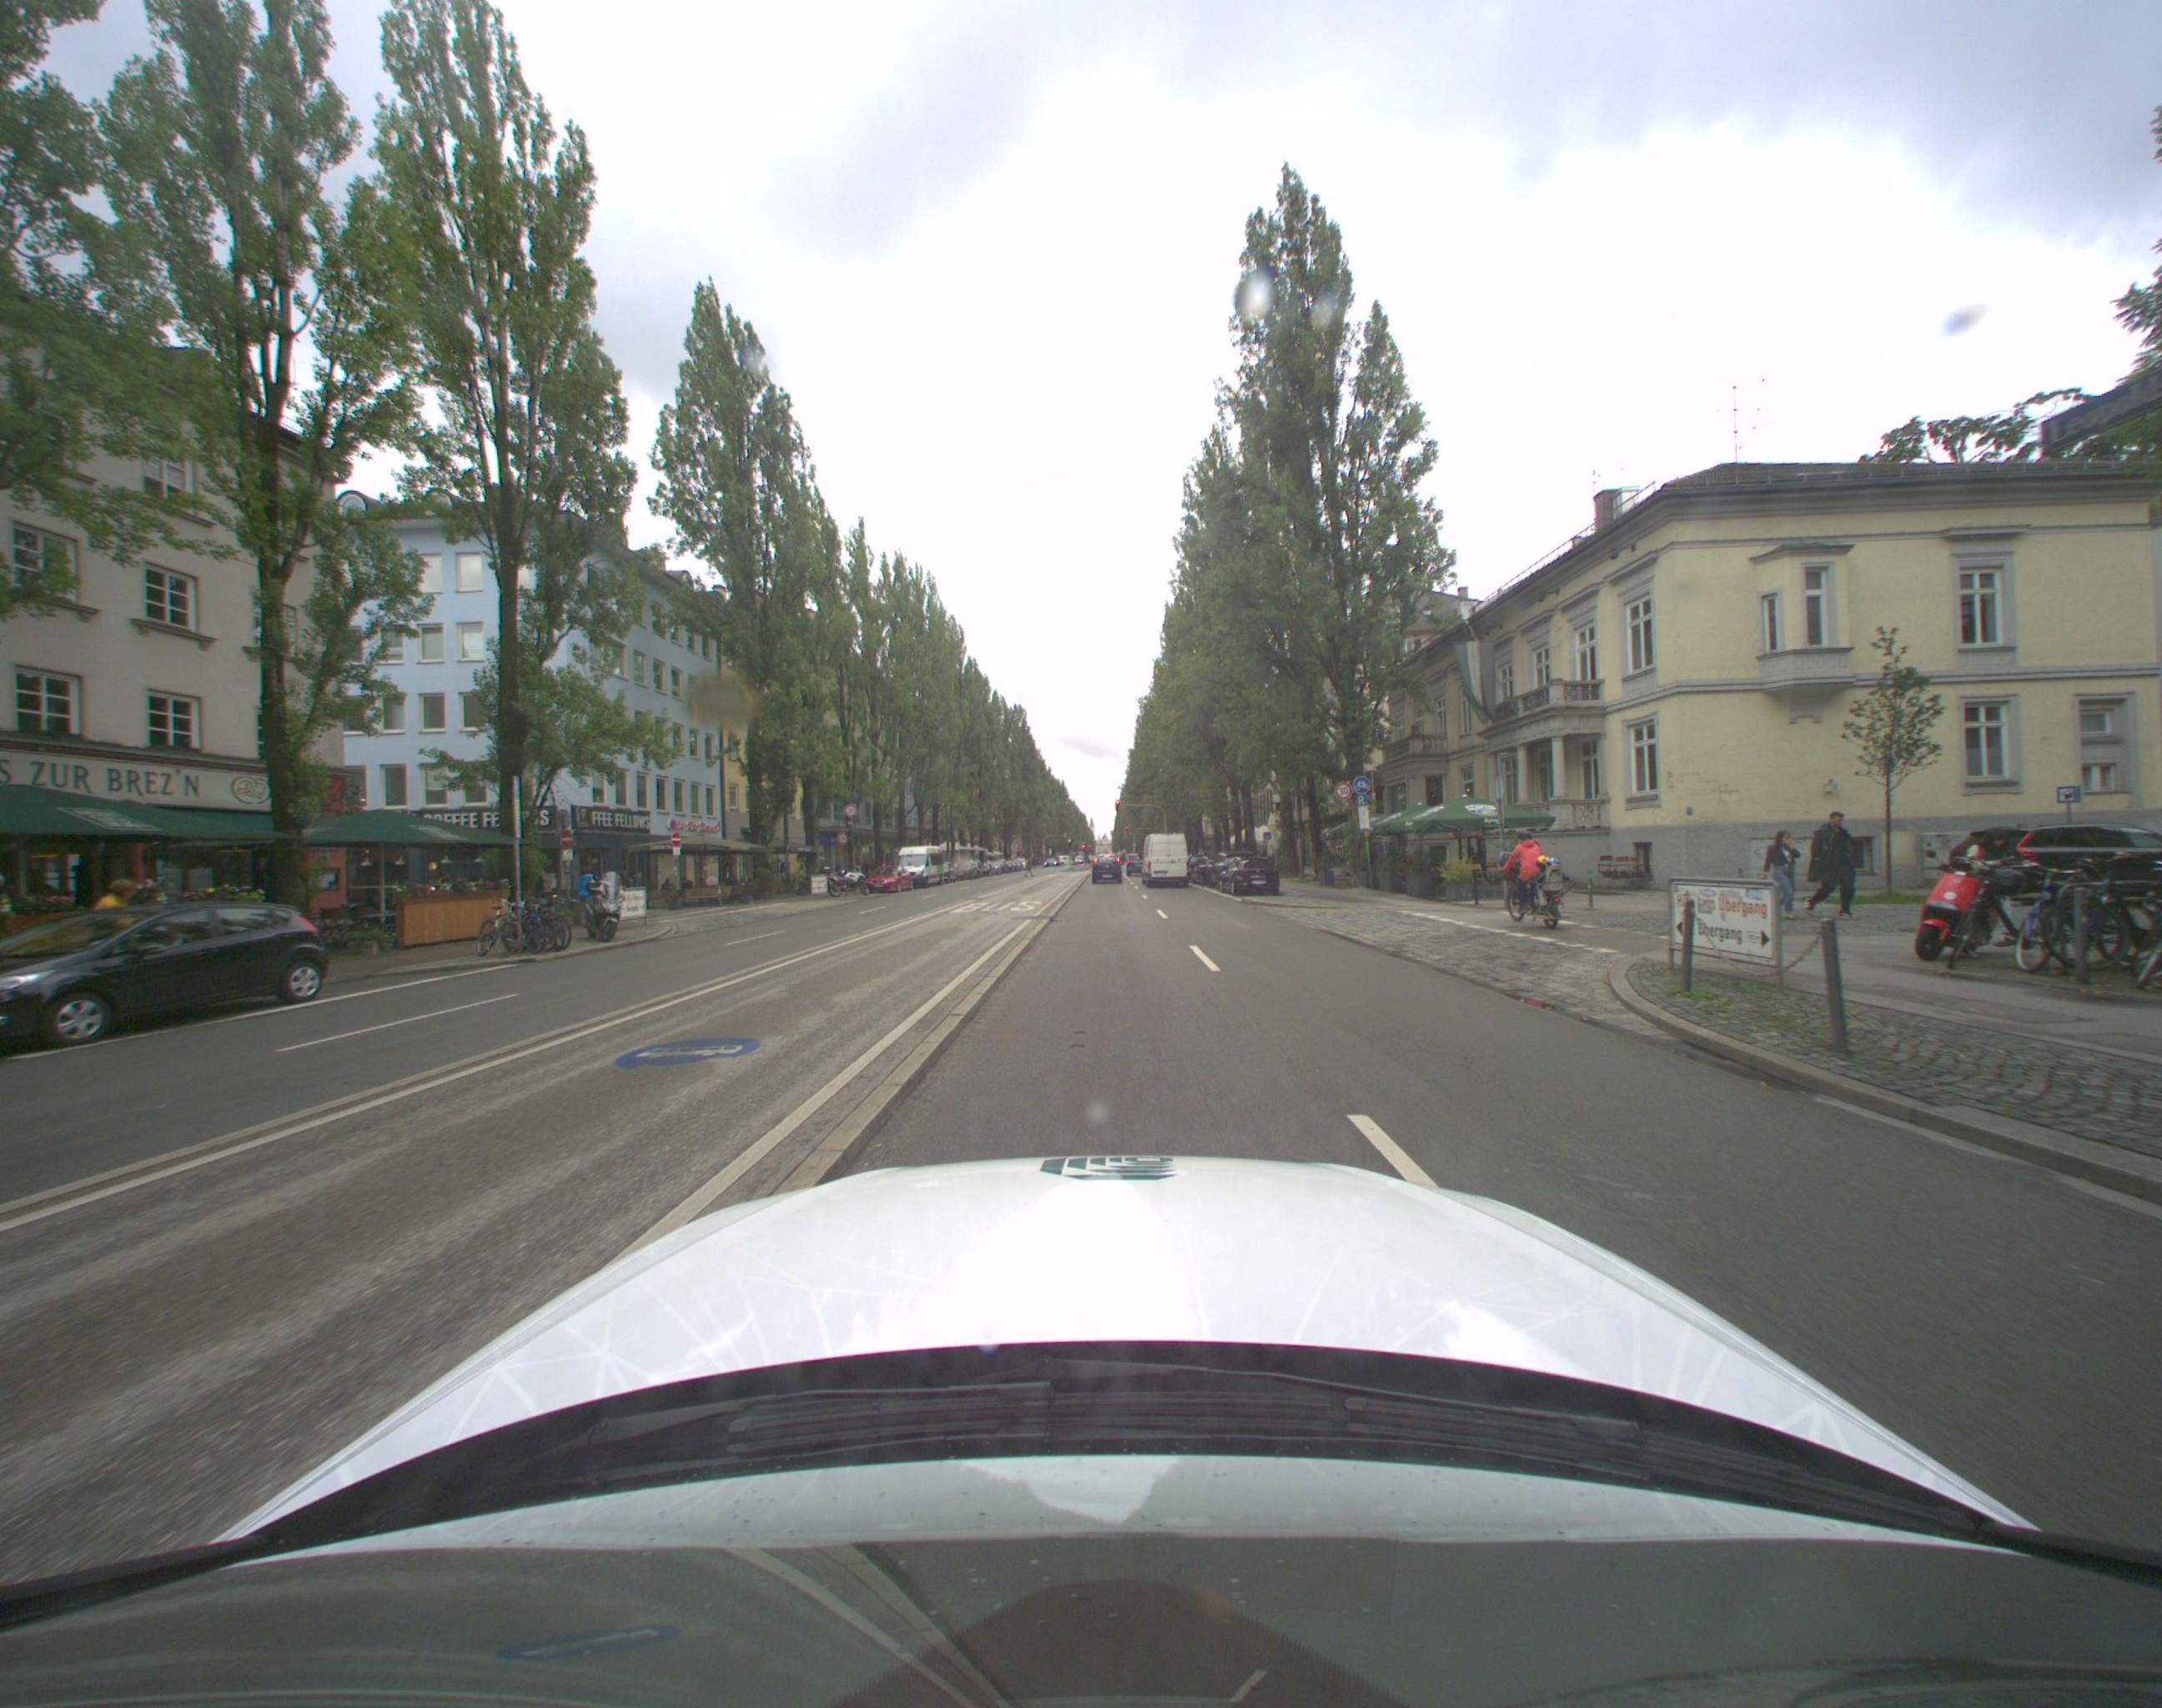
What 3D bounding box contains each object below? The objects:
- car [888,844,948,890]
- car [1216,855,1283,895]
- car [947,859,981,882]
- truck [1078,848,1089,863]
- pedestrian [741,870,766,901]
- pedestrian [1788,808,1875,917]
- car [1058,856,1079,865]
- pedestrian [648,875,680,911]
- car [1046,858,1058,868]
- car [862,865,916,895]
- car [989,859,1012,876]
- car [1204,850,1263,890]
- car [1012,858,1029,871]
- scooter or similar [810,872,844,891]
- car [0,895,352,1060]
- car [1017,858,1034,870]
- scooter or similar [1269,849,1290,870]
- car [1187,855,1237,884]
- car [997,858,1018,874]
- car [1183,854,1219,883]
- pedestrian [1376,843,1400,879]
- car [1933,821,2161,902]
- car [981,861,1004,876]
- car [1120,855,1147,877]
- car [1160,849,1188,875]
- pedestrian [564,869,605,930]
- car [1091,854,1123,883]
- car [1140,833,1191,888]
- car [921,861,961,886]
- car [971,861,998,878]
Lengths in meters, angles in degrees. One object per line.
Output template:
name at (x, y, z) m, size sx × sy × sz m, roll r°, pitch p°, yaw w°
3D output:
car at (-10.053, 0.746, 50.913) m, size 1.998 × 2.567 × 6.914 m, roll -3°, pitch 0°, yaw 2°
car at (6.356, 0.755, 31.130) m, size 1.689 × 1.416 × 3.950 m, roll -1°, pitch 0°, yaw 0°
car at (-9.465, 1.333, 66.120) m, size 1.859 × 1.664 × 4.612 m, roll -3°, pitch 0°, yaw 2°
truck at (0.567, 0.303, 193.717) m, size 2.374 × 3.347 × 7.113 m, roll -2°, pitch 0°, yaw 2°
pedestrian at (-14.731, 1.419, 36.646) m, size 0.695 × 1.362 × 0.848 m, roll -2°, pitch 0°, yaw 0°
pedestrian at (13.871, 0.158, 15.073) m, size 0.835 × 1.949 × 0.801 m, roll 0°, pitch -1°, yaw -1°
car at (-2.183, 1.152, 145.636) m, size 3.368 × 1.561 × 1.728 m, roll -2°, pitch 0°, yaw -22°
pedestrian at (-16.772, 1.558, 32.760) m, size 0.694 × 1.362 × 0.951 m, roll -2°, pitch 0°, yaw 4°
car at (-4.757, 1.471, 133.666) m, size 1.691 × 1.462 × 4.714 m, roll -3°, pitch 0°, yaw 2°
car at (-10.312, 1.357, 43.955) m, size 1.731 × 1.419 × 4.150 m, roll -3°, pitch 0°, yaw 2°
car at (-8.694, 1.414, 87.958) m, size 1.859 × 1.665 × 4.402 m, roll -3°, pitch 0°, yaw 2°
car at (6.731, 0.693, 36.289) m, size 1.797 × 1.637 × 4.446 m, roll -1°, pitch 0°, yaw 0°
car at (-8.159, 1.399, 110.296) m, size 1.859 × 1.665 × 4.121 m, roll -3°, pitch 0°, yaw 1°
scooter or similar at (-14.820, 1.614, 47.498) m, size 1.768 × 1.026 × 0.421 m, roll -2°, pitch 0°, yaw -2°
car at (-11.328, 1.338, 9.774) m, size 1.751 × 1.422 × 3.782 m, roll -3°, pitch 0°, yaw -2°
car at (-7.982, 1.436, 117.572) m, size 1.859 × 1.665 × 4.121 m, roll -3°, pitch 0°, yaw 1°
scooter or similar at (13.354, 0.366, 54.854) m, size 0.634 × 1.376 × 2.493 m, roll -3°, pitch 1°, yaw -2°
car at (6.628, 0.764, 41.558) m, size 1.705 × 1.393 × 4.340 m, roll -1°, pitch 0°, yaw -2°
car at (-8.499, 1.406, 94.801) m, size 1.859 × 1.665 × 4.121 m, roll -3°, pitch 0°, yaw 1°
car at (6.623, 0.782, 45.279) m, size 1.587 × 1.518 × 2.728 m, roll 0°, pitch 0°, yaw -1°
pedestrian at (14.613, 0.342, 38.791) m, size 0.794 × 1.677 × 0.877 m, roll -2°, pitch 0°, yaw 1°
car at (22.205, 0.172, 18.027) m, size 4.394 × 1.702 × 1.974 m, roll 0°, pitch -1°, yaw 5°
car at (-8.968, 1.460, 82.558) m, size 1.727 × 1.425 × 4.145 m, roll -3°, pitch 0°, yaw 2°
car at (3.894, 0.872, 61.188) m, size 1.889 × 1.622 × 4.002 m, roll -1°, pitch 0°, yaw 2°
car at (7.231, 0.622, 63.610) m, size 1.781 × 1.946 × 4.732 m, roll -1°, pitch 0°, yaw 2°
pedestrian at (-14.100, 1.271, 23.131) m, size 0.699 × 1.647 × 0.945 m, roll -2°, pitch 0°, yaw -15°
car at (1.477, 0.807, 46.152) m, size 1.665 × 1.568 × 4.002 m, roll -1°, pitch 0°, yaw 2°
car at (4.139, 0.297, 40.899) m, size 2.055 × 2.492 × 6.733 m, roll -1°, pitch 0°, yaw 2°
car at (-9.914, 1.376, 58.008) m, size 1.859 × 1.552 × 4.416 m, roll -3°, pitch 0°, yaw 2°
car at (-9.152, 1.430, 77.332) m, size 1.792 × 1.489 × 4.352 m, roll -3°, pitch 0°, yaw 2°
